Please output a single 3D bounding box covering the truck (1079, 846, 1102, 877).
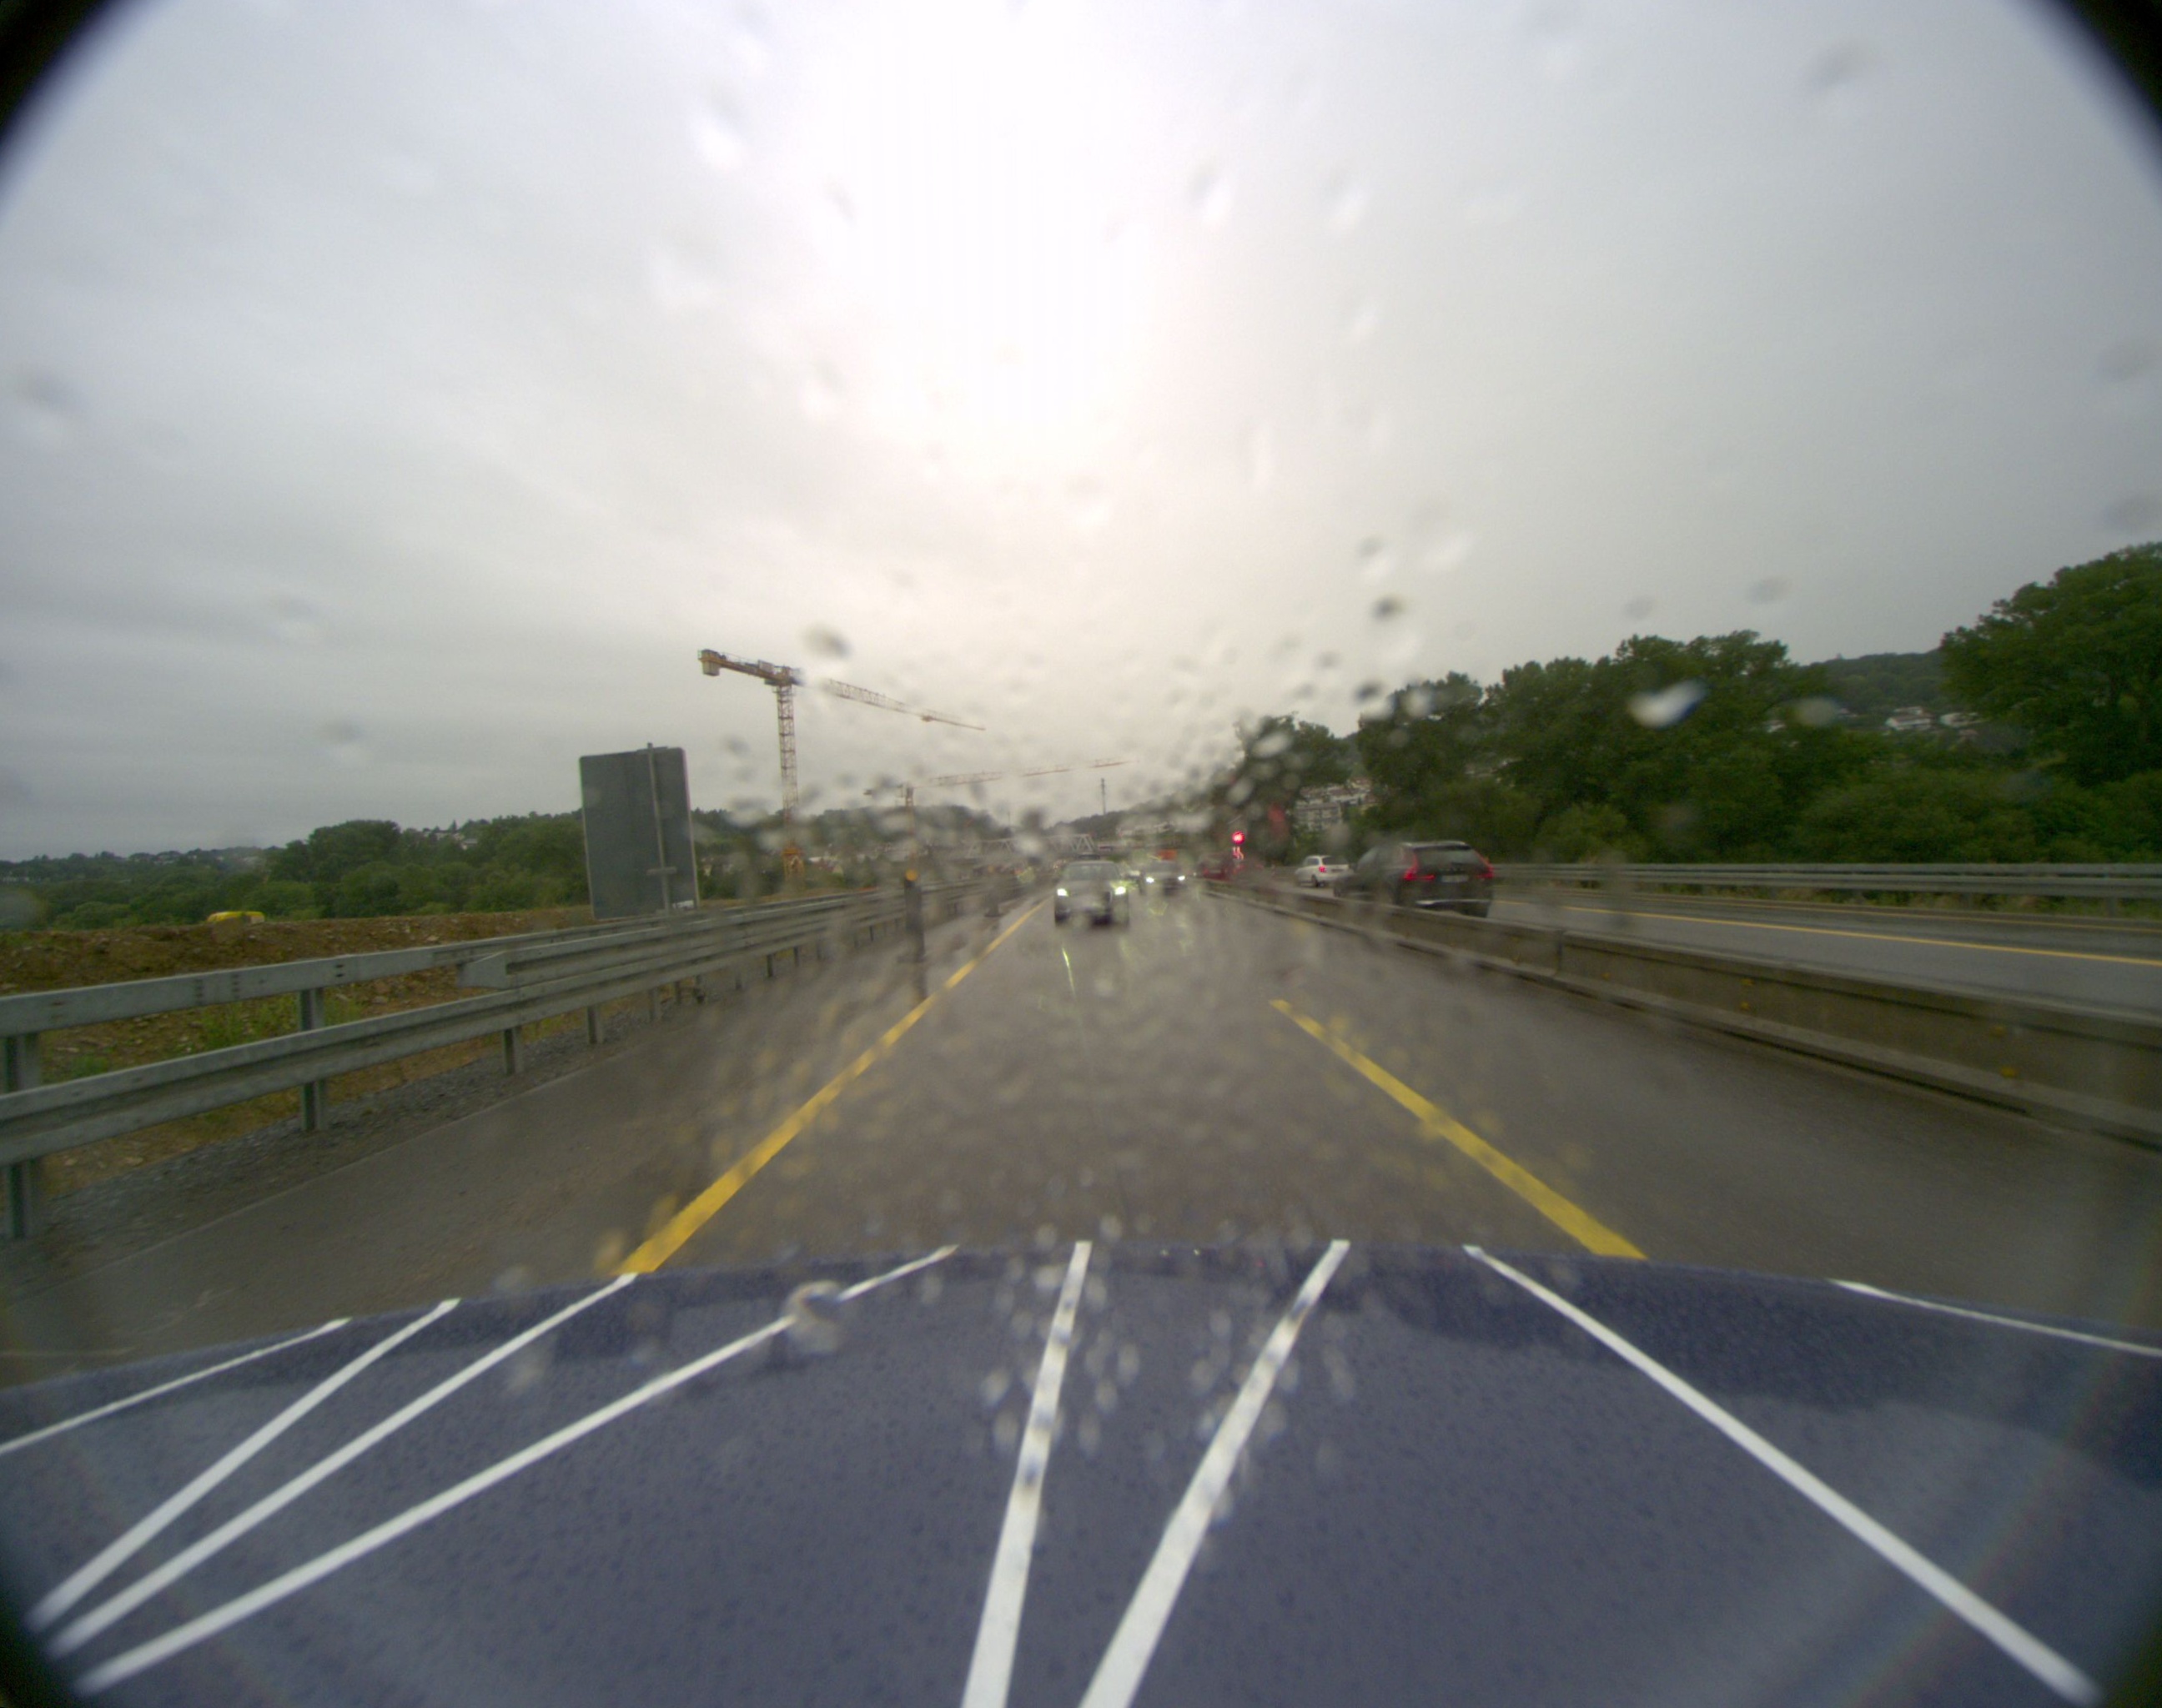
[{"bbox_3d":[1.131,0.893,92.023,2.575,3.450,6.627,-2,0,1],"label":"truck"}]

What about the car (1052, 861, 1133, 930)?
[{"bbox_3d":[0.292,0.967,19.340,1.781,1.514,4.141,-2,-1,1],"label":"car"}]

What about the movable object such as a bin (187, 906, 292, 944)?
[{"bbox_3d":[-35.198,2.957,31.876,1.391,1.293,2.705,-2,0,-3],"label":"movable object such as a bin"}]

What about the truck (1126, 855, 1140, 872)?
[{"bbox_3d":[11.403,1.967,168.194,2.607,3.605,6.539,-2,0,1],"label":"truck"}]

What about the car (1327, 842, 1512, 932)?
[{"bbox_3d":[6.982,0.614,16.277,1.998,1.645,4.470,-1,0,0],"label":"car"}]

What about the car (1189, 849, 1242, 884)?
[{"bbox_3d":[7.072,0.692,40.458,1.850,1.737,4.845,0,-1,-1],"label":"car"}]

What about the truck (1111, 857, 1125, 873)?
[{"bbox_3d":[7.314,2.231,150.587,2.413,2.976,6.539,-2,0,1],"label":"truck"}]

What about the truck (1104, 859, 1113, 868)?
[{"bbox_3d":[8.650,2.898,240.070,2.800,2.769,5.498,-2,0,0],"label":"truck"}]

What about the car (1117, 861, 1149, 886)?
[{"bbox_3d":[3.353,1.226,49.706,1.781,1.430,4.484,-2,0,1],"label":"car"}]

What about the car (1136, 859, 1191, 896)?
[{"bbox_3d":[3.591,0.982,33.858,1.951,1.430,4.484,-2,0,1],"label":"car"}]

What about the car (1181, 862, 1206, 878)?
[{"bbox_3d":[11.269,1.563,76.247,1.822,1.501,4.306,-2,0,1],"label":"car"}]

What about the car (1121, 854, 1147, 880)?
[{"bbox_3d":[4.333,1.038,62.283,1.998,2.001,4.002,-2,-1,4],"label":"car"}]

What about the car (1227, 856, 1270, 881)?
[{"bbox_3d":[10.660,0.939,48.706,1.825,1.487,4.001,-2,-1,0],"label":"car"}]

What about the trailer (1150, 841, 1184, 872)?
[{"bbox_3d":[11.812,0.442,106.128,3.285,3.885,13.701,-2,-1,1],"label":"trailer"}]

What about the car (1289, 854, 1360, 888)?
[{"bbox_3d":[11.666,0.808,36.753,1.851,1.567,4.270,0,-1,-4],"label":"car"}]
